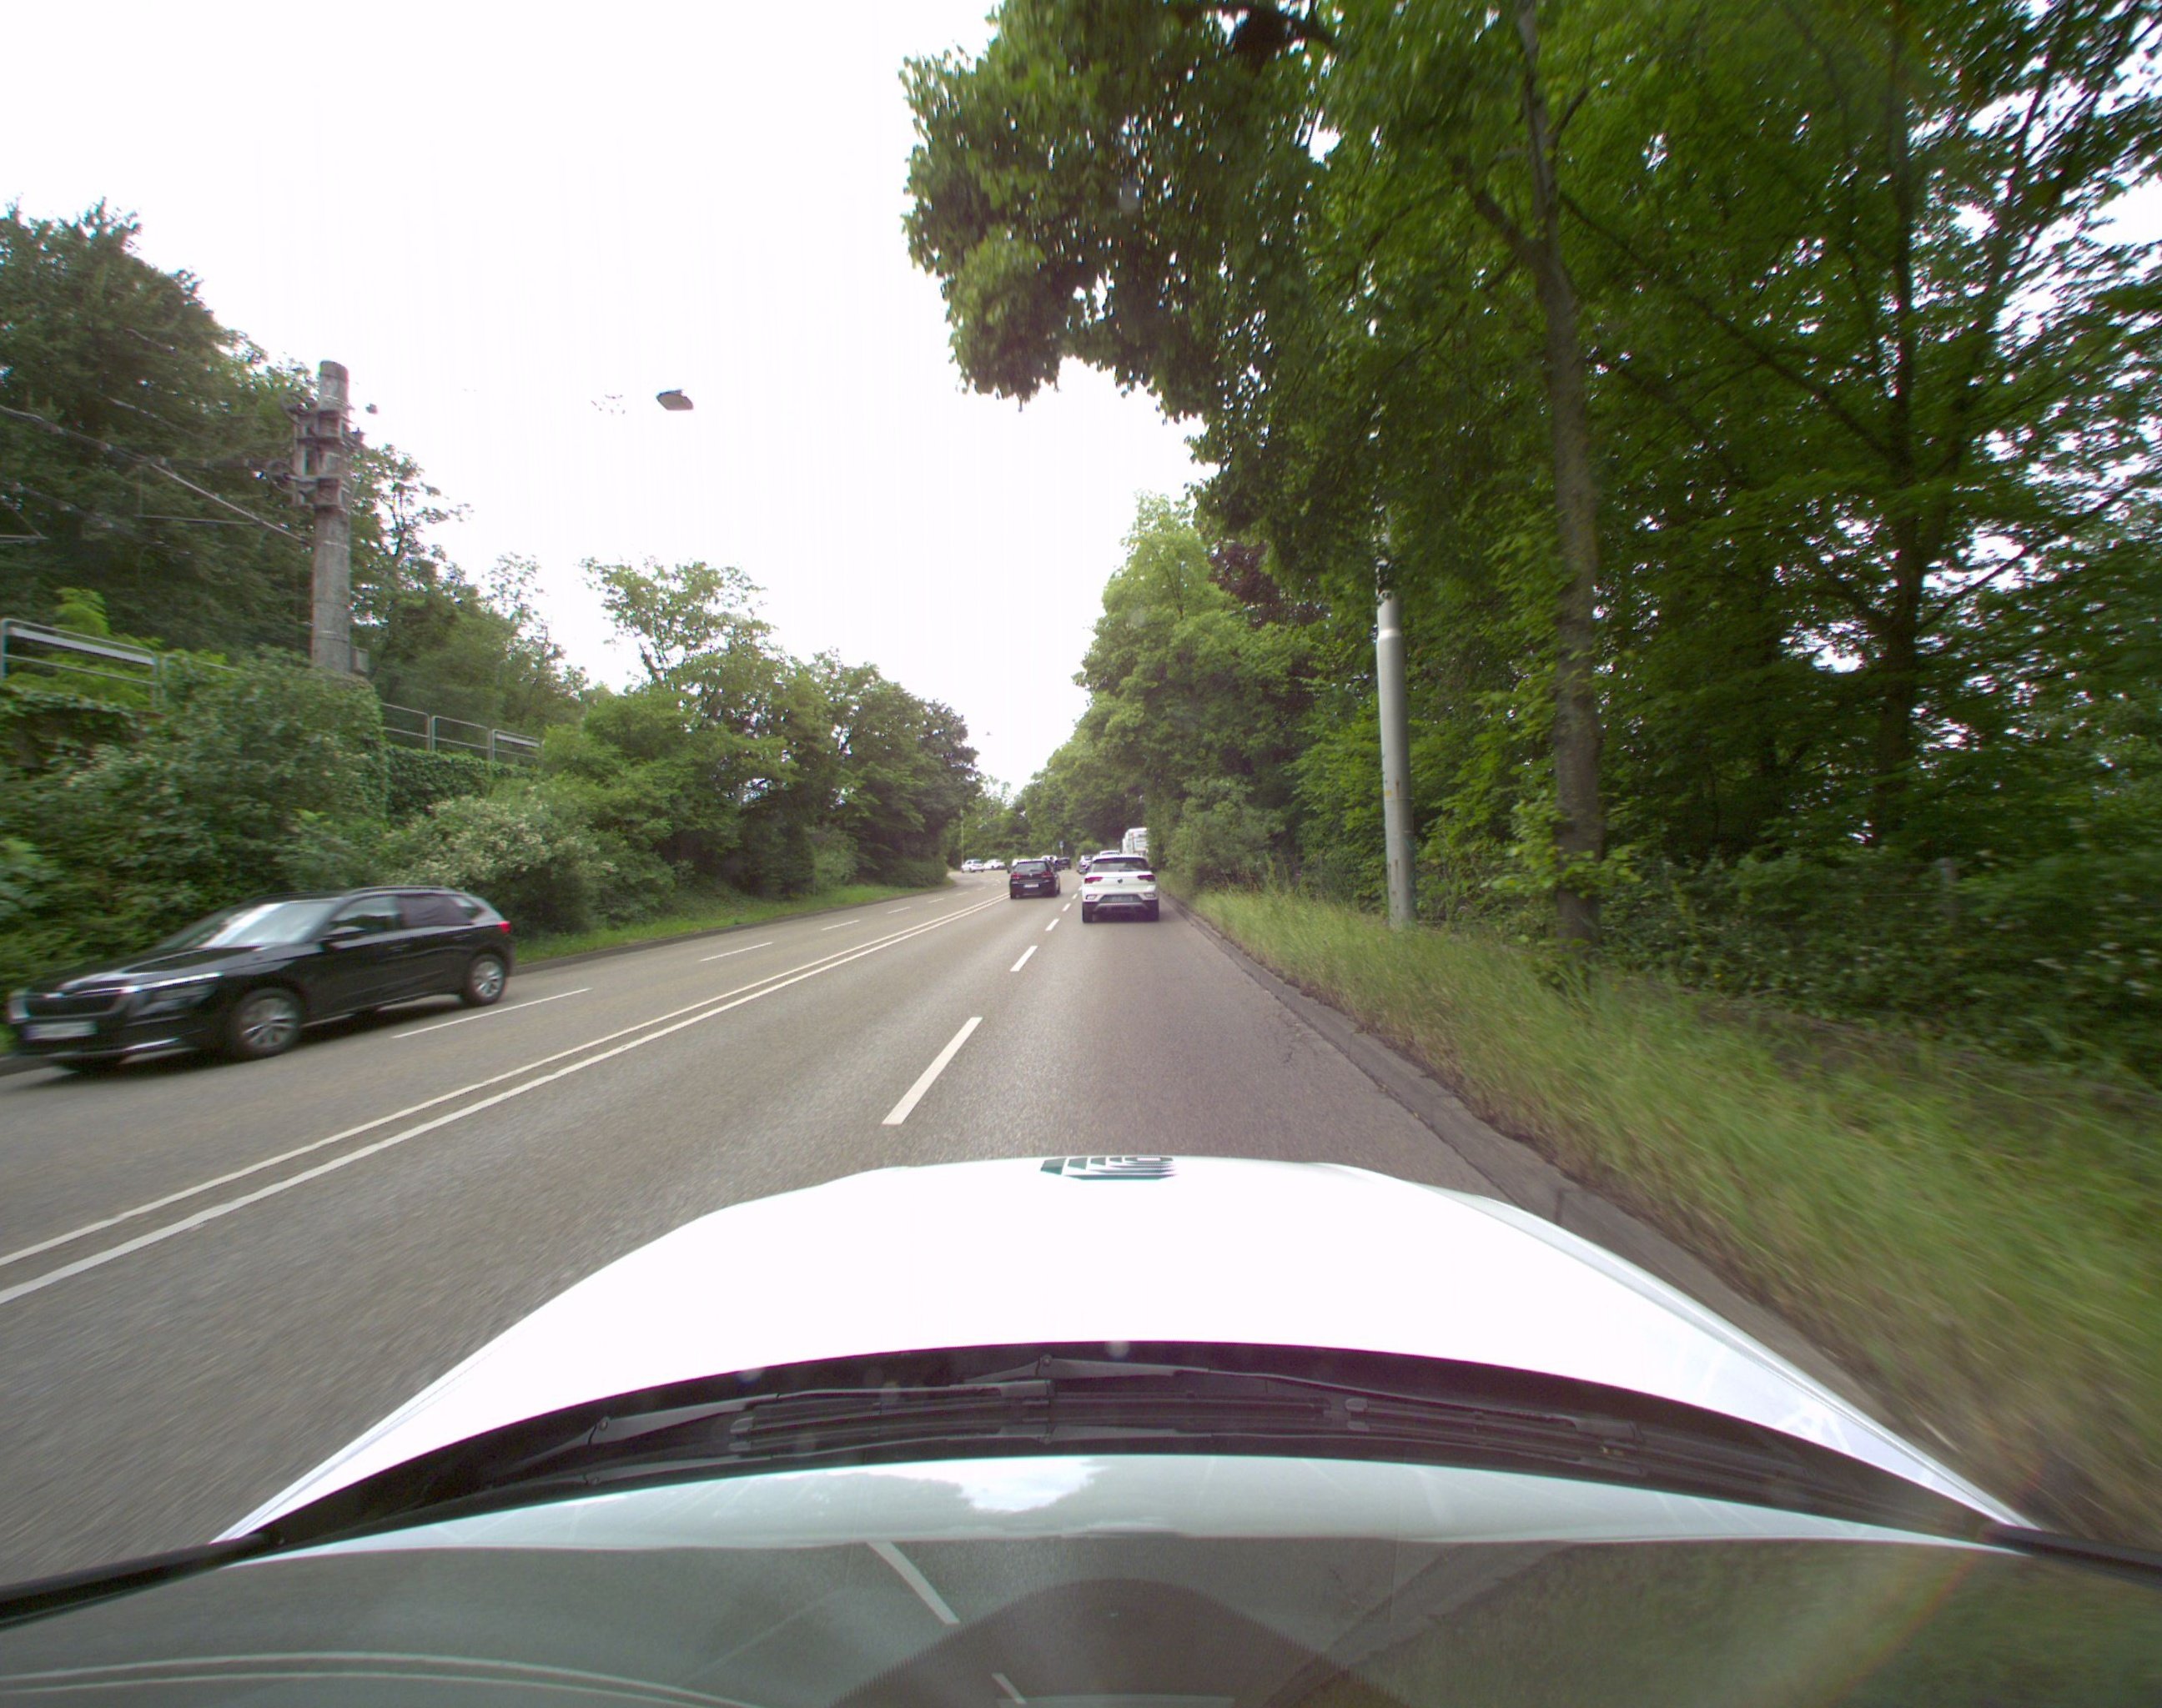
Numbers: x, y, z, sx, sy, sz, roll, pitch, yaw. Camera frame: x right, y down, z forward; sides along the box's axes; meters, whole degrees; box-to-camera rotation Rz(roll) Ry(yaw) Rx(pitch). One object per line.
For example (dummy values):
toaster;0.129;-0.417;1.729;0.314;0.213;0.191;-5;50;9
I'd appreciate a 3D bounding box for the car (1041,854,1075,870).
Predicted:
car;-2.416;0.829;83.702;1.777;1.607;3.961;0;-1;-31

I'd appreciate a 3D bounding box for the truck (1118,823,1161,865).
truck;4.616;-0.728;65.452;2.477;3.182;7.219;-1;-1;-3

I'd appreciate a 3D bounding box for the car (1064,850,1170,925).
car;0.760;0.745;19.784;1.998;1.596;3.991;-1;-1;-6

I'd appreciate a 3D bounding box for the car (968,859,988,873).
car;-12.440;1.450;98.644;1.815;1.623;4.002;-1;-1;2

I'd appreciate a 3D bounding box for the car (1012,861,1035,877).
car;-5.932;1.543;84.248;1.986;1.592;4.002;-1;-1;2

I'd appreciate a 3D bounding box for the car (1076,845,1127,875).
car;1.269;0.385;51.670;1.858;1.702;3.973;-4;1;-20

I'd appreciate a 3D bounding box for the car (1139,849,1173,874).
car;5.038;0.503;55.099;1.798;1.524;3.998;-4;-1;-1

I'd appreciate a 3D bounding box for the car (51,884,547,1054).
car;-8.342;1.110;9.309;1.636;1.312;4.002;-4;-1;2

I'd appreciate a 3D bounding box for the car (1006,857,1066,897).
car;-1.681;0.895;31.706;1.942;1.466;4.001;-1;-2;2
